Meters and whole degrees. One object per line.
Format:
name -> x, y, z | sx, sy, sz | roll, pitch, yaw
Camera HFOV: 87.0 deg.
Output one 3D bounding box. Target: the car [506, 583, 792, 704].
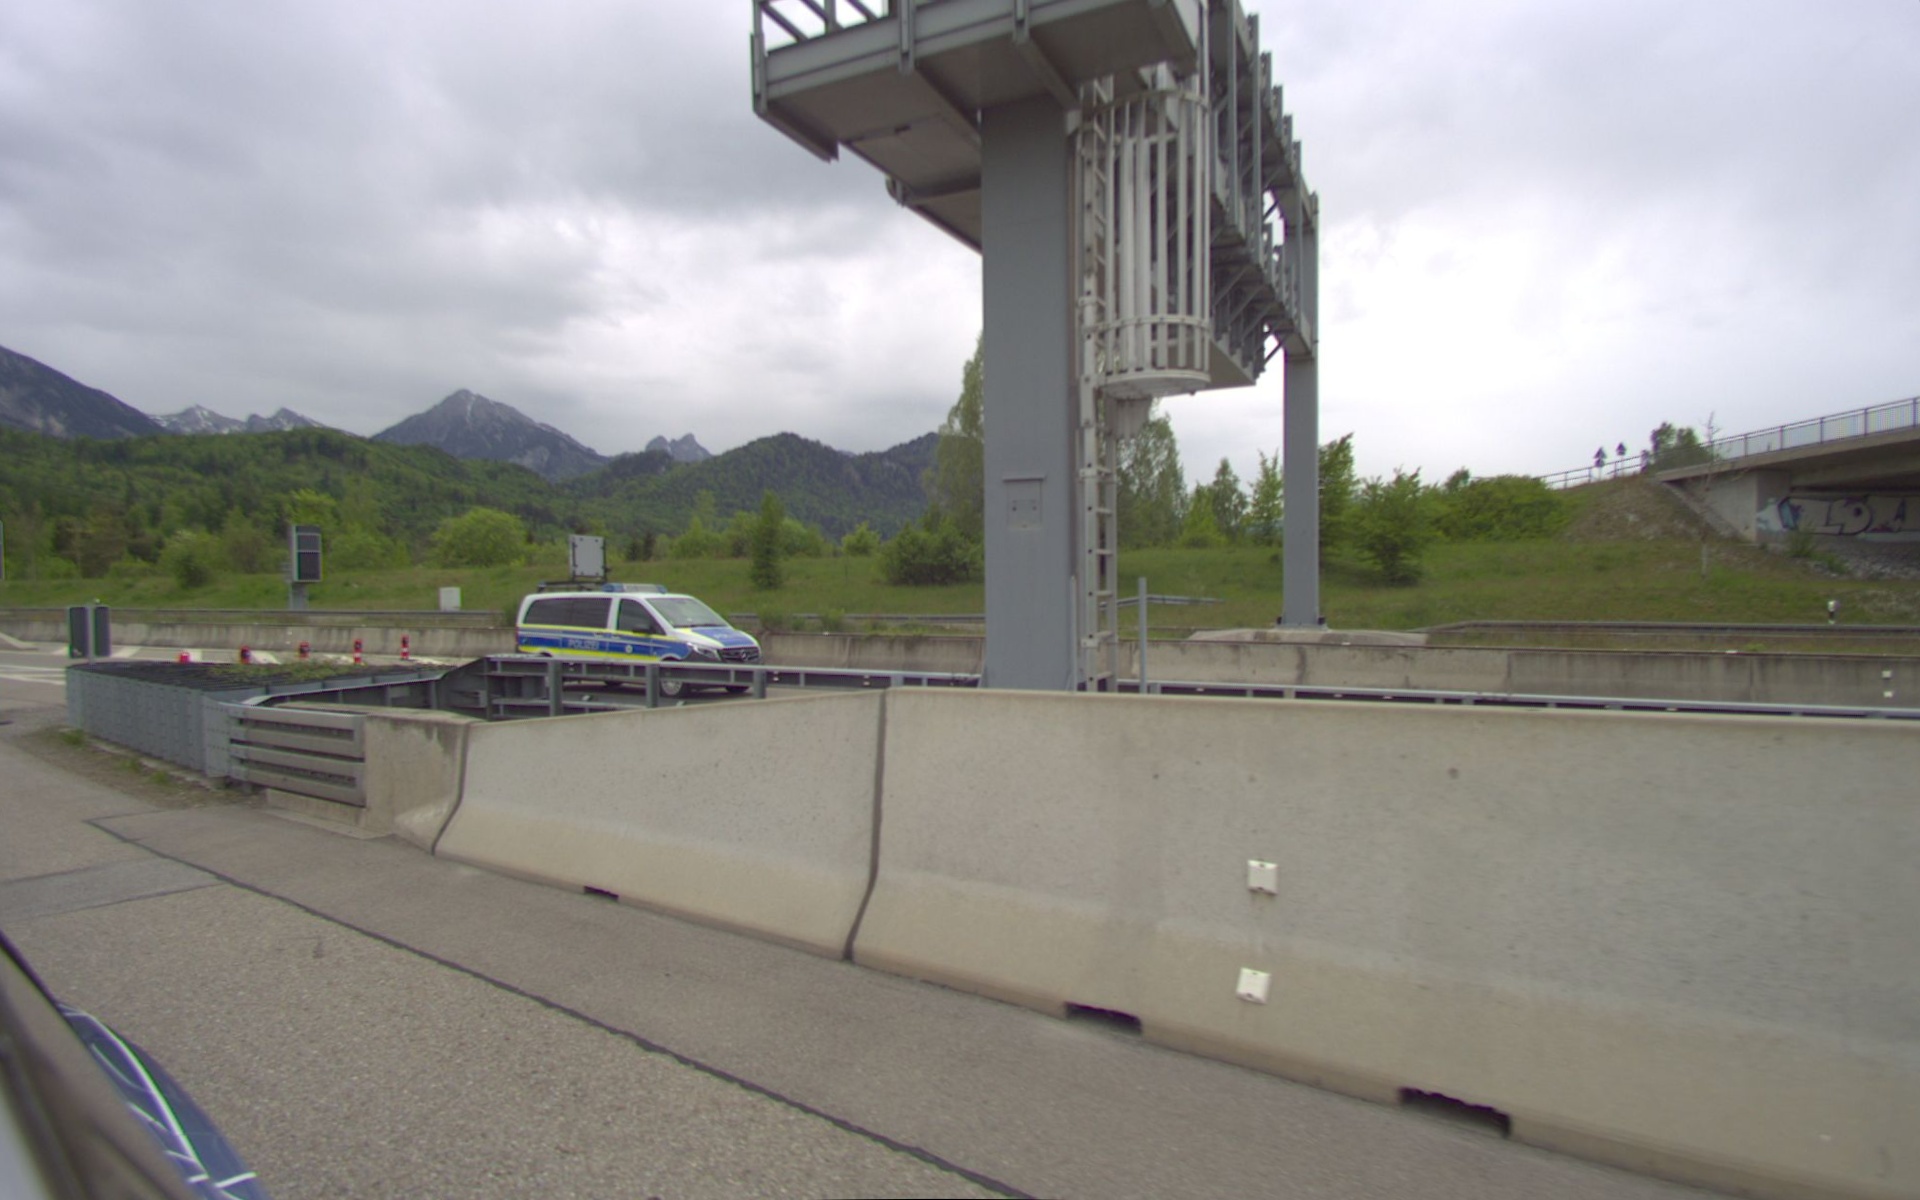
car -> -5.877, 0.726, 19.092 | 5.024, 2.029, 2.273 | 0, 0, 27
